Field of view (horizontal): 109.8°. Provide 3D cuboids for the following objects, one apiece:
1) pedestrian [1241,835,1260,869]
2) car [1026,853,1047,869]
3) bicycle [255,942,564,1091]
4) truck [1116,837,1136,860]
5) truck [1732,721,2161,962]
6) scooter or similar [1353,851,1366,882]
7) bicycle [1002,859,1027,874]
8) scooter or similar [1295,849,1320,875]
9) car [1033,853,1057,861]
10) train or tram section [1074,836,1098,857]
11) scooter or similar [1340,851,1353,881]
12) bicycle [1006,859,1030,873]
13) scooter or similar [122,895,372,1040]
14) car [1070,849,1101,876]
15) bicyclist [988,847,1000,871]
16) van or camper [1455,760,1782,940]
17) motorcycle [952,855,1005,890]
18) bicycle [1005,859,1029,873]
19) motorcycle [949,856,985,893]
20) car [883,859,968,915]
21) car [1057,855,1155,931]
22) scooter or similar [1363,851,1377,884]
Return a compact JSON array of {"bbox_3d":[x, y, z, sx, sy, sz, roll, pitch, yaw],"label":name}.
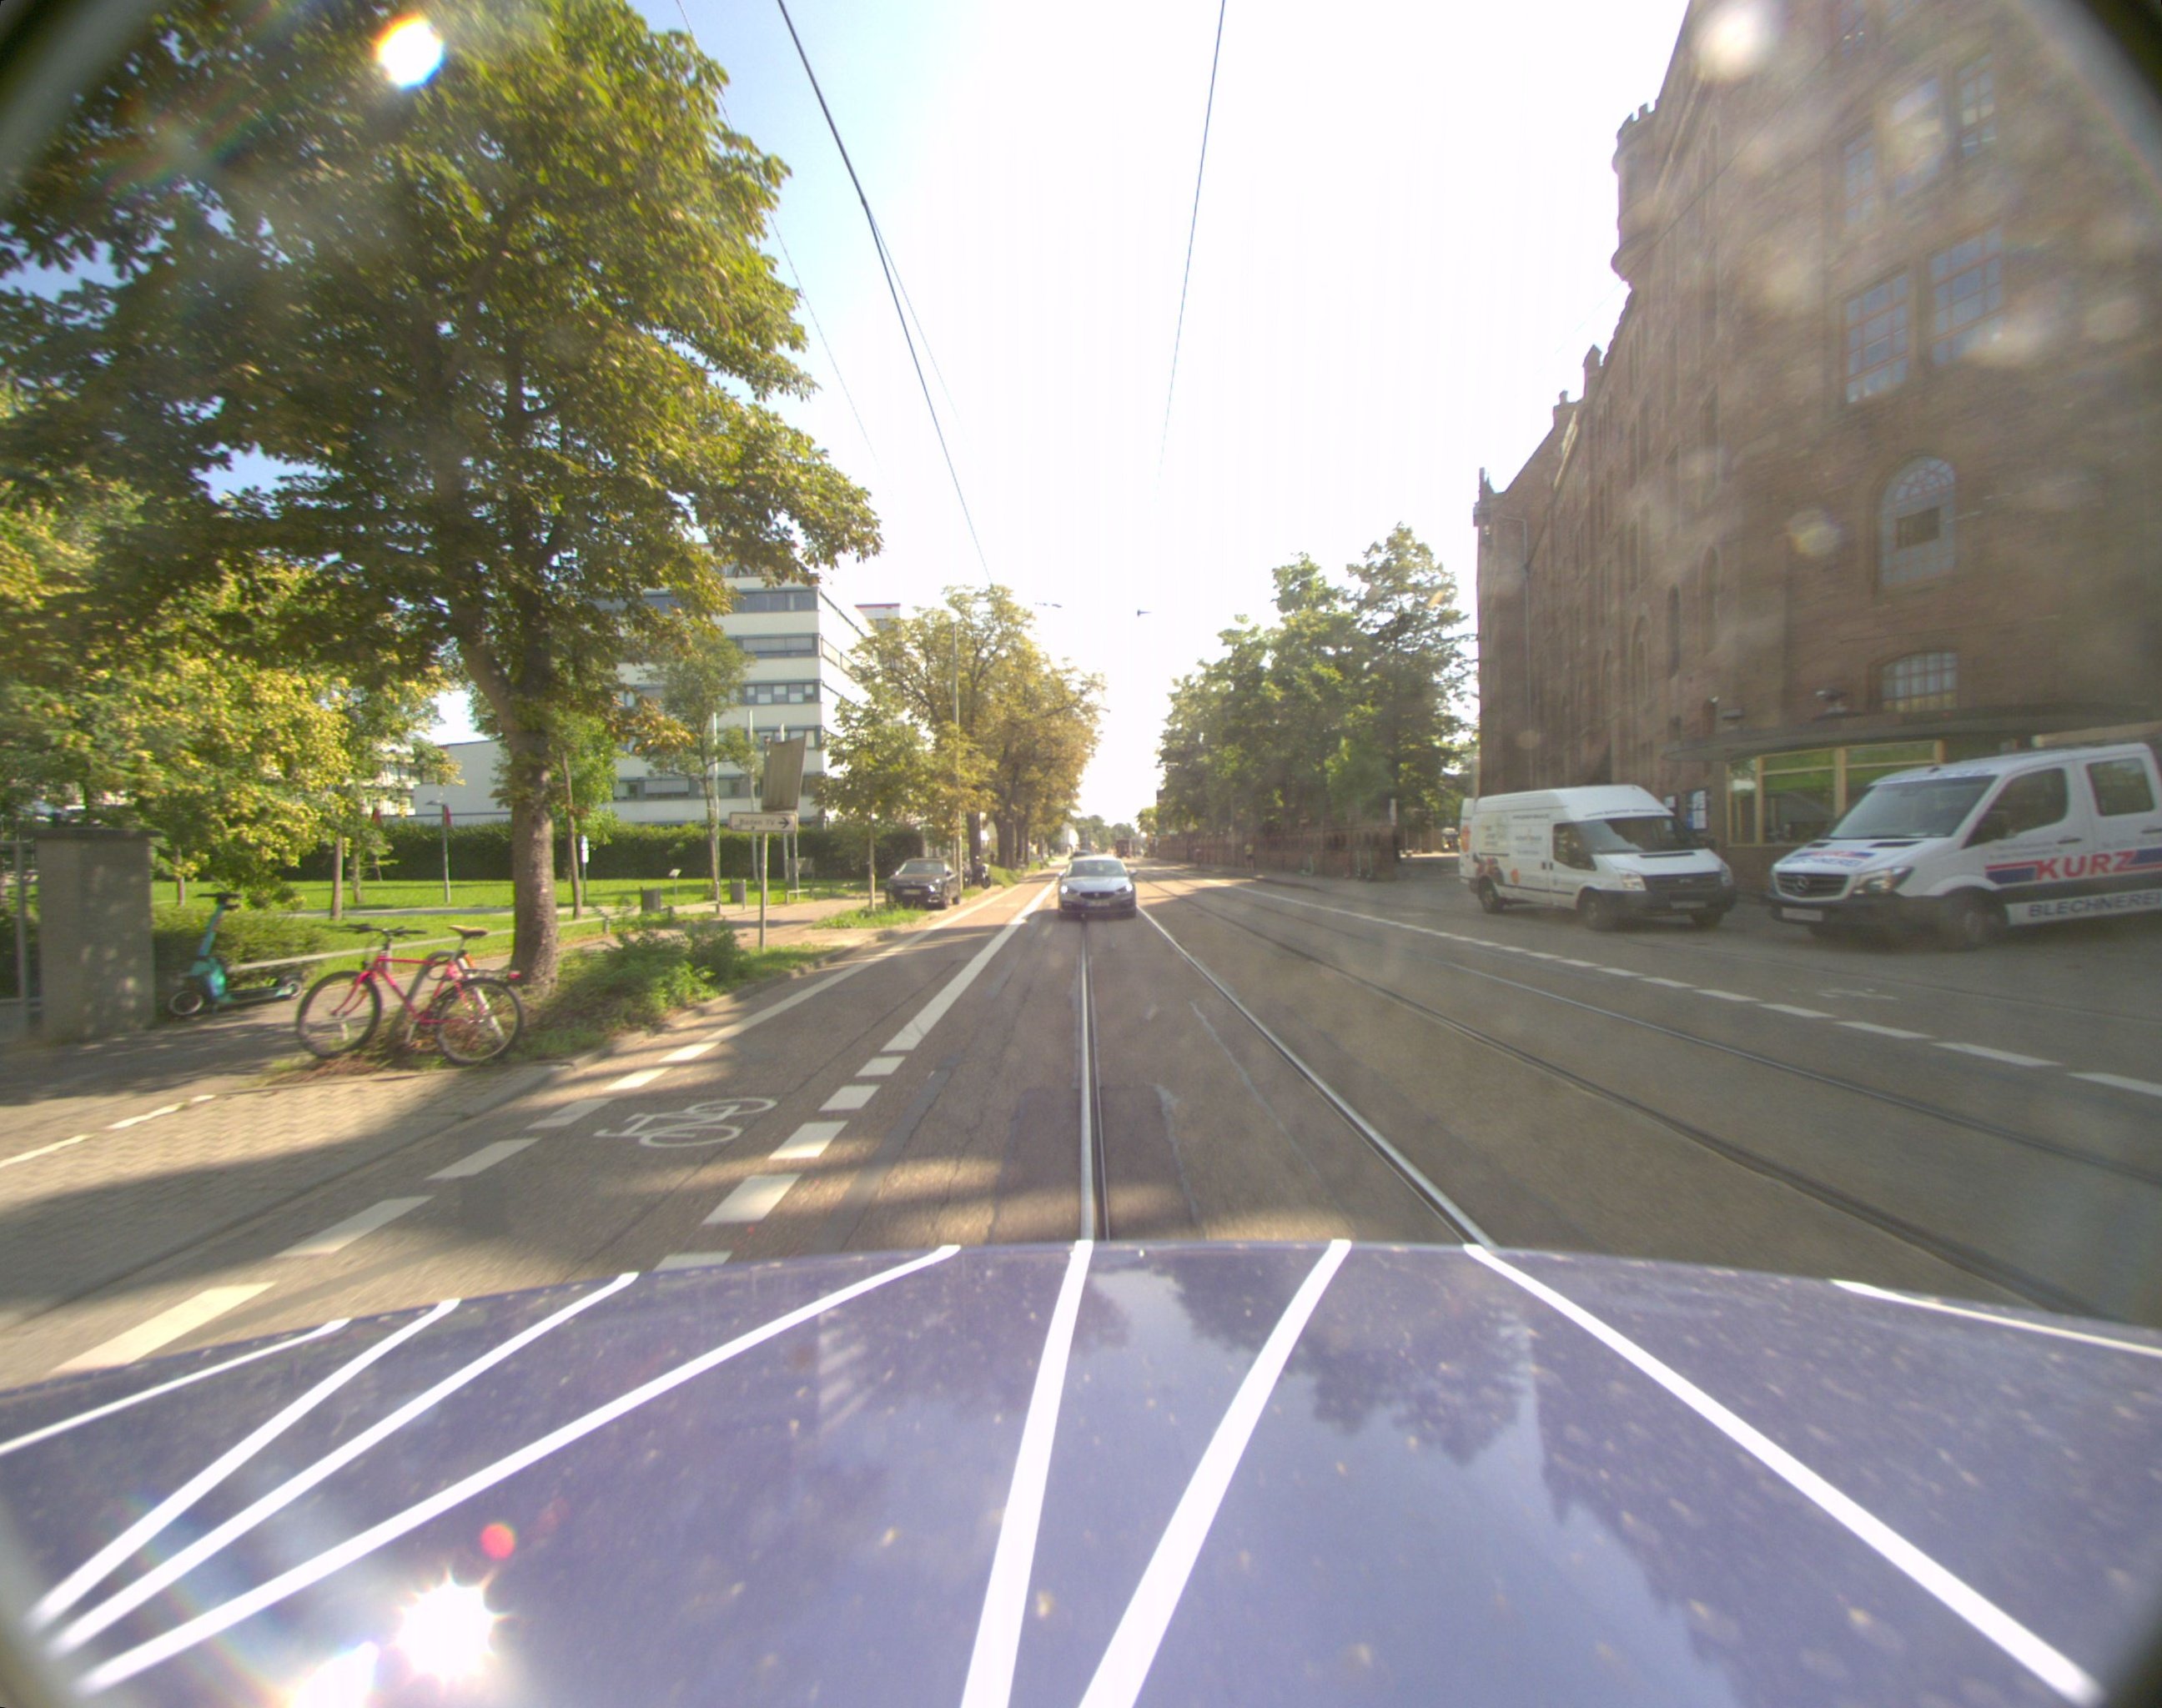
[{"bbox_3d":[10.285,-0.120,46.111,0.866,2.002,0.983,-2,1,-2],"label":"pedestrian"},{"bbox_3d":[-4.414,0.699,75.784,1.760,1.453,4.274,-1,0,0],"label":"car"},{"bbox_3d":[-5.071,1.217,5.805,1.816,0.952,0.558,-2,1,0],"label":"bicycle"},{"bbox_3d":[9.385,-1.238,157.288,3.171,4.427,16.846,-2,0,6],"label":"truck"},{"bbox_3d":[12.585,-0.252,9.651,6.334,2.523,2.132,-5,-1,5],"label":"truck"},{"bbox_3d":[10.710,0.473,29.217,0.340,1.172,1.180,-2,1,26],"label":"scooter or similar"},{"bbox_3d":[-4.836,0.928,55.061,1.776,1.043,0.540,-1,1,-1],"label":"bicycle"},{"bbox_3d":[10.315,0.362,34.692,0.422,1.172,1.315,-2,1,-15],"label":"scooter or similar"},{"bbox_3d":[-7.259,0.627,152.679,4.552,1.506,1.960,-2,1,-5],"label":"car"},{"bbox_3d":[1.173,-1.554,153.954,4.111,3.711,24.378,-2,0,2],"label":"train or tram section"},{"bbox_3d":[10.627,0.468,30.390,0.340,1.172,1.180,-2,1,26],"label":"scooter or similar"},{"bbox_3d":[-4.795,0.905,58.218,1.776,1.043,0.540,-1,1,-1],"label":"bicycle"},{"bbox_3d":[-8.793,1.136,8.145,0.557,1.252,1.818,-2,1,3],"label":"scooter or similar"},{"bbox_3d":[0.275,0.510,48.830,1.834,1.543,4.032,-2,0,0],"label":"car"},{"bbox_3d":[-7.235,0.412,63.577,0.783,2.002,1.274,-2,1,0],"label":"bicyclist"},{"bbox_3d":[9.628,-0.080,14.521,2.118,2.660,5.955,-2,0,2],"label":"van or camper"},{"bbox_3d":[-4.683,0.848,34.586,2.448,1.507,0.854,-2,1,39],"label":"motorcycle"},{"bbox_3d":[-4.842,0.912,57.540,1.776,1.043,0.540,-1,1,-1],"label":"bicycle"},{"bbox_3d":[-4.959,0.870,32.887,0.854,1.507,2.450,-3,1,-24],"label":"motorcycle"},{"bbox_3d":[-4.768,0.957,23.922,1.760,1.507,4.608,-1,1,-1],"label":"car"},{"bbox_3d":[0.493,0.796,17.778,1.928,1.465,4.816,-2,0,0],"label":"car"},{"bbox_3d":[10.688,0.481,28.083,0.340,1.172,1.180,-2,1,26],"label":"scooter or similar"}]
